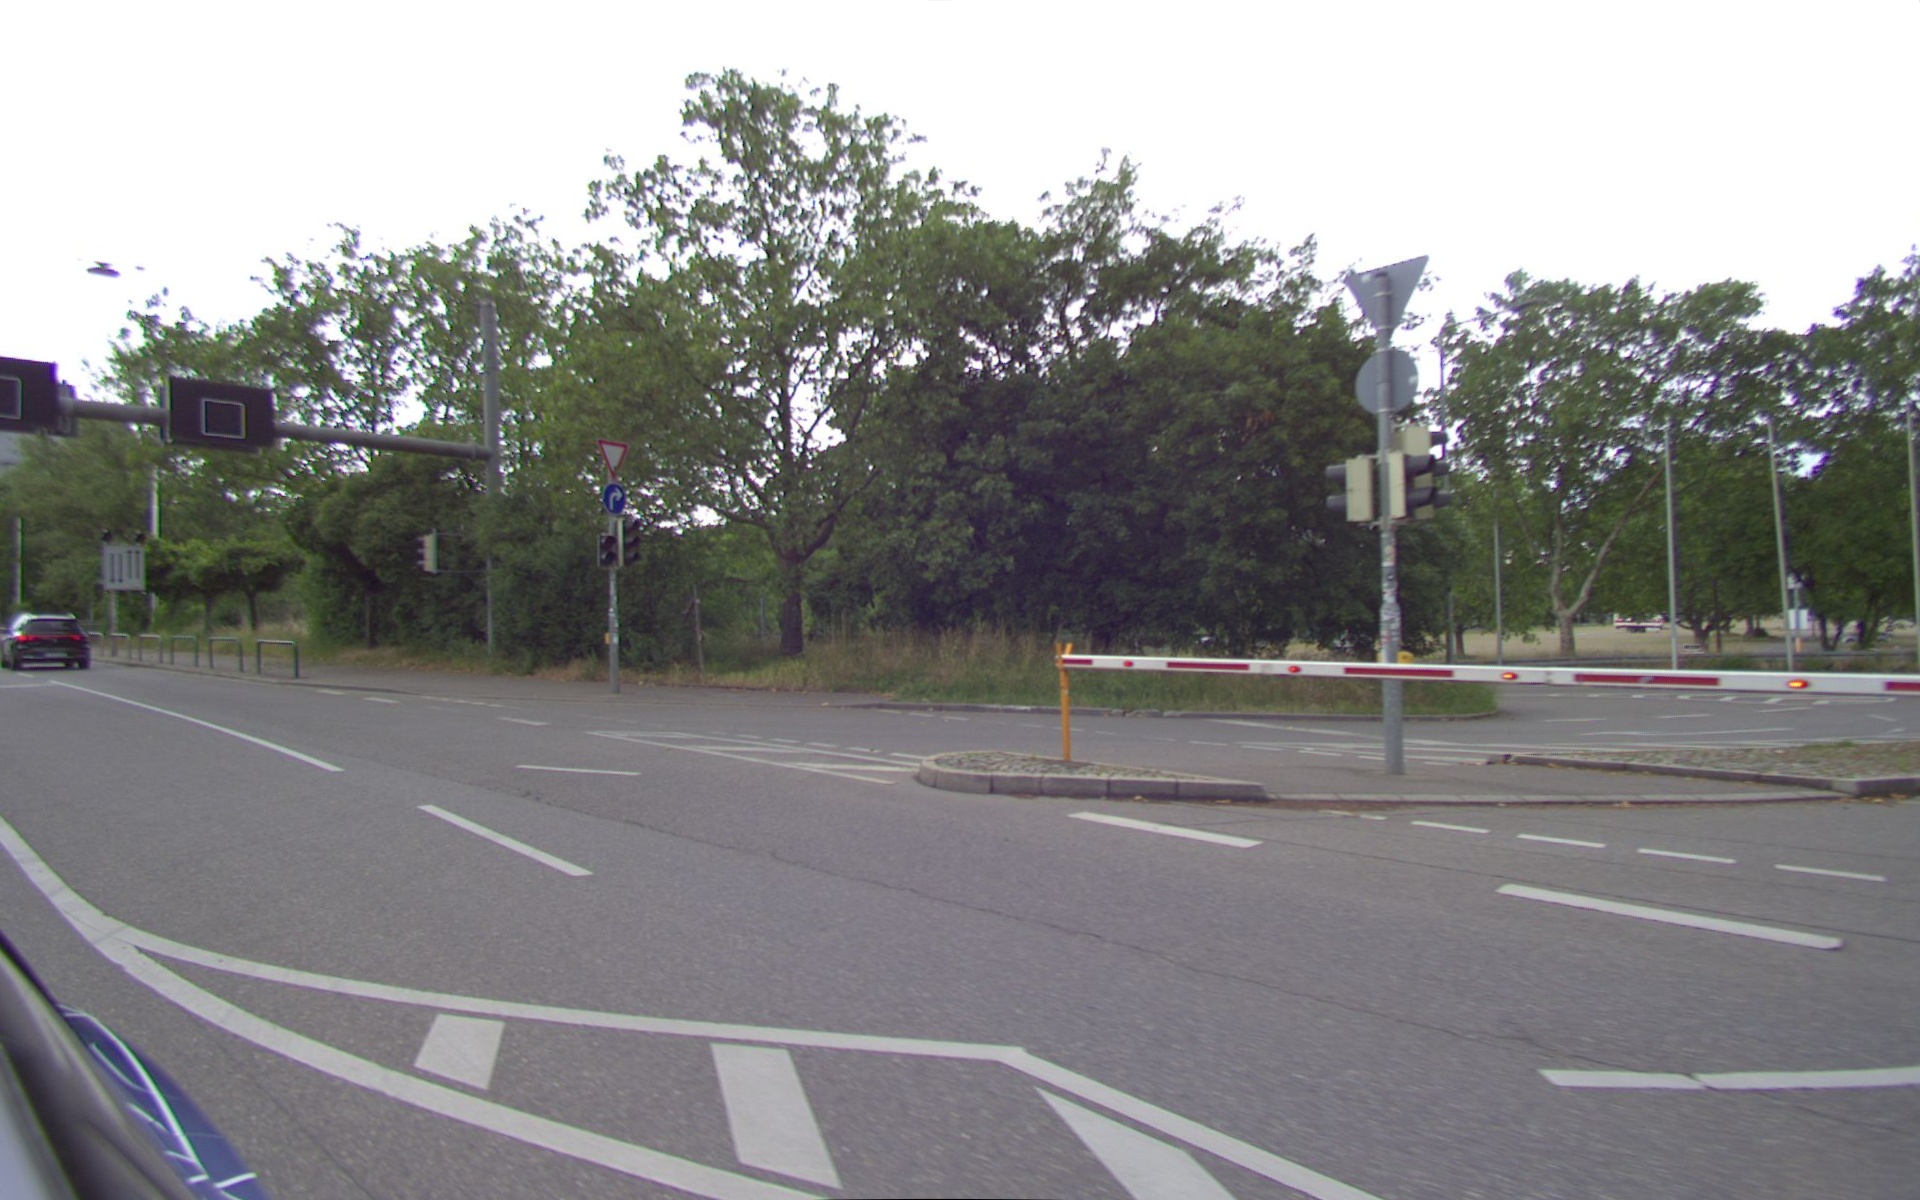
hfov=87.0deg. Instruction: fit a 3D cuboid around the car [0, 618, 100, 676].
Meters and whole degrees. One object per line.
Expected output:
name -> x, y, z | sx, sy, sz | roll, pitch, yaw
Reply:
car -> -28.356, 1.421, 31.465 | 4.518, 1.673, 1.971 | -1, -2, 44
